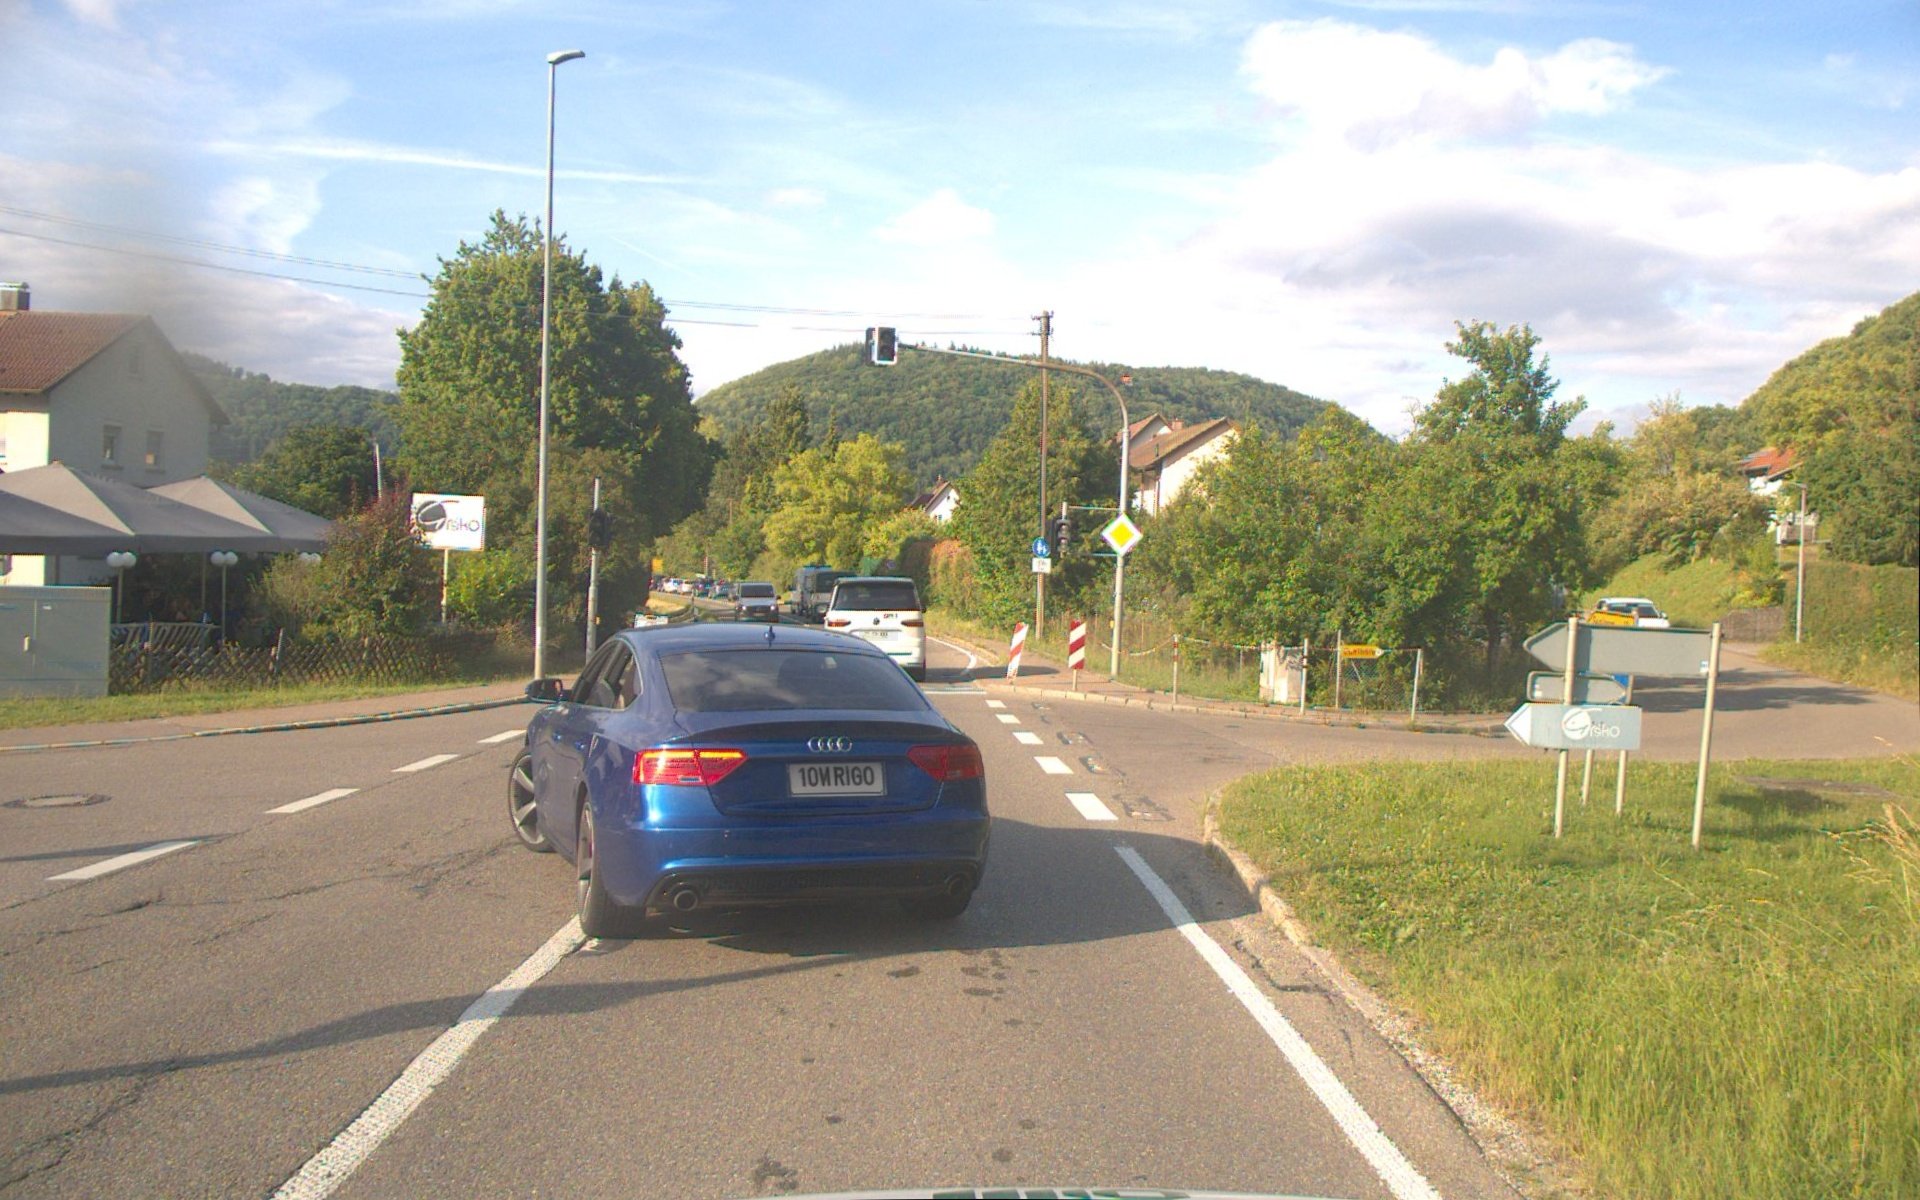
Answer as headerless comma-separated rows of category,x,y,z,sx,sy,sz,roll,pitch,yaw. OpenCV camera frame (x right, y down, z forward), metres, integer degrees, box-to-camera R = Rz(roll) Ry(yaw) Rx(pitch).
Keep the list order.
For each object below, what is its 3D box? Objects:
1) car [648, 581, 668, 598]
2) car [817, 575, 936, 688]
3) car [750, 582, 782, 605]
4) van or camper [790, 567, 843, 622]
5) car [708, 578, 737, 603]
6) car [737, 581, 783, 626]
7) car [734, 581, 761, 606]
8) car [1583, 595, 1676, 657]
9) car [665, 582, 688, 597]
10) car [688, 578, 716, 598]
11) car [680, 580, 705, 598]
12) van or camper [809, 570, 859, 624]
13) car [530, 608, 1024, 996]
car,-32.352,-1.096,176.928,1.743,1.814,3.983,0,0,-16
car,-1.707,0.535,32.104,1.955,1.909,4.865,3,1,-6
car,-13.666,-0.454,116.570,1.788,1.579,3.986,0,0,-14
van or camper,-8.007,-0.320,91.957,2.371,2.955,6.116,0,0,-10
car,-19.981,-0.838,138.946,1.960,2.049,3.985,0,1,-15
car,-9.197,0.134,75.791,1.956,1.937,5.244,-1,1,-8
car,-16.468,-0.494,127.940,1.765,1.825,3.988,1,1,-12
car,19.798,0.728,49.085,1.828,1.638,4.576,1,1,13
car,-28.235,-1.009,164.740,1.910,1.449,3.983,0,1,-16
car,-23.011,-1.040,147.309,2.007,1.713,3.983,1,1,-16
car,-25.189,-1.039,155.890,1.910,1.713,3.983,0,0,-16
van or camper,-5.964,-0.174,77.891,2.138,2.427,5.362,0,1,-7
car,-1.211,0.782,8.605,1.801,1.434,4.206,0,0,-17
